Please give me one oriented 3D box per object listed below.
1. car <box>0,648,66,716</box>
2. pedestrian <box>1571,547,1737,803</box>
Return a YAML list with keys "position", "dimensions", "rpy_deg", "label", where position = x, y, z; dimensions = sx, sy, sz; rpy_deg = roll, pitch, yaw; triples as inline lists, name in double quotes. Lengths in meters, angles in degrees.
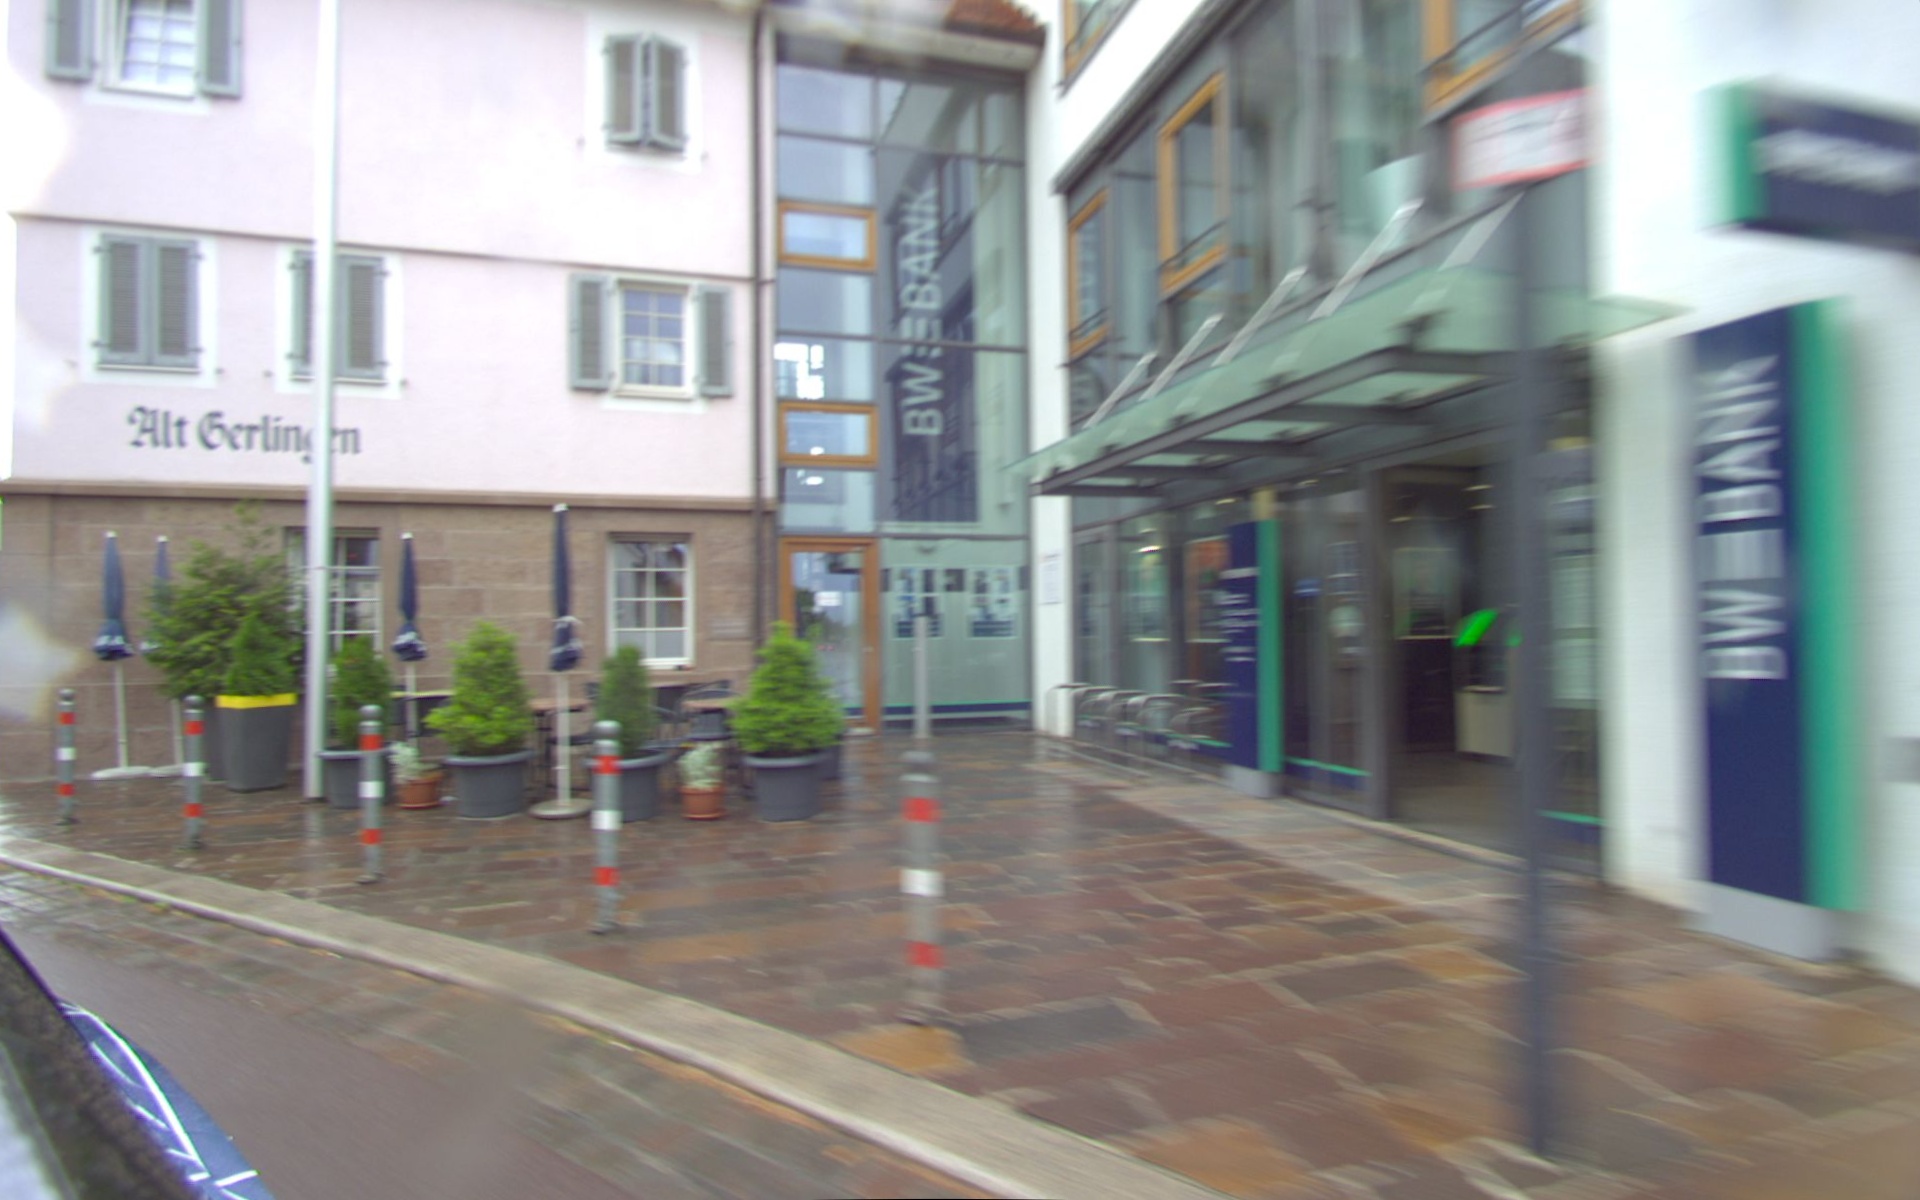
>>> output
- position: [-22.151, 1.733, 21.775]
  dimensions: [3.930, 1.428, 1.881]
  rpy_deg: [2, -4, -23]
  label: "car"
- position: [4.823, 0.502, 7.067]
  dimensions: [0.616, 1.680, 0.673]
  rpy_deg: [0, -2, -17]
  label: "pedestrian"
